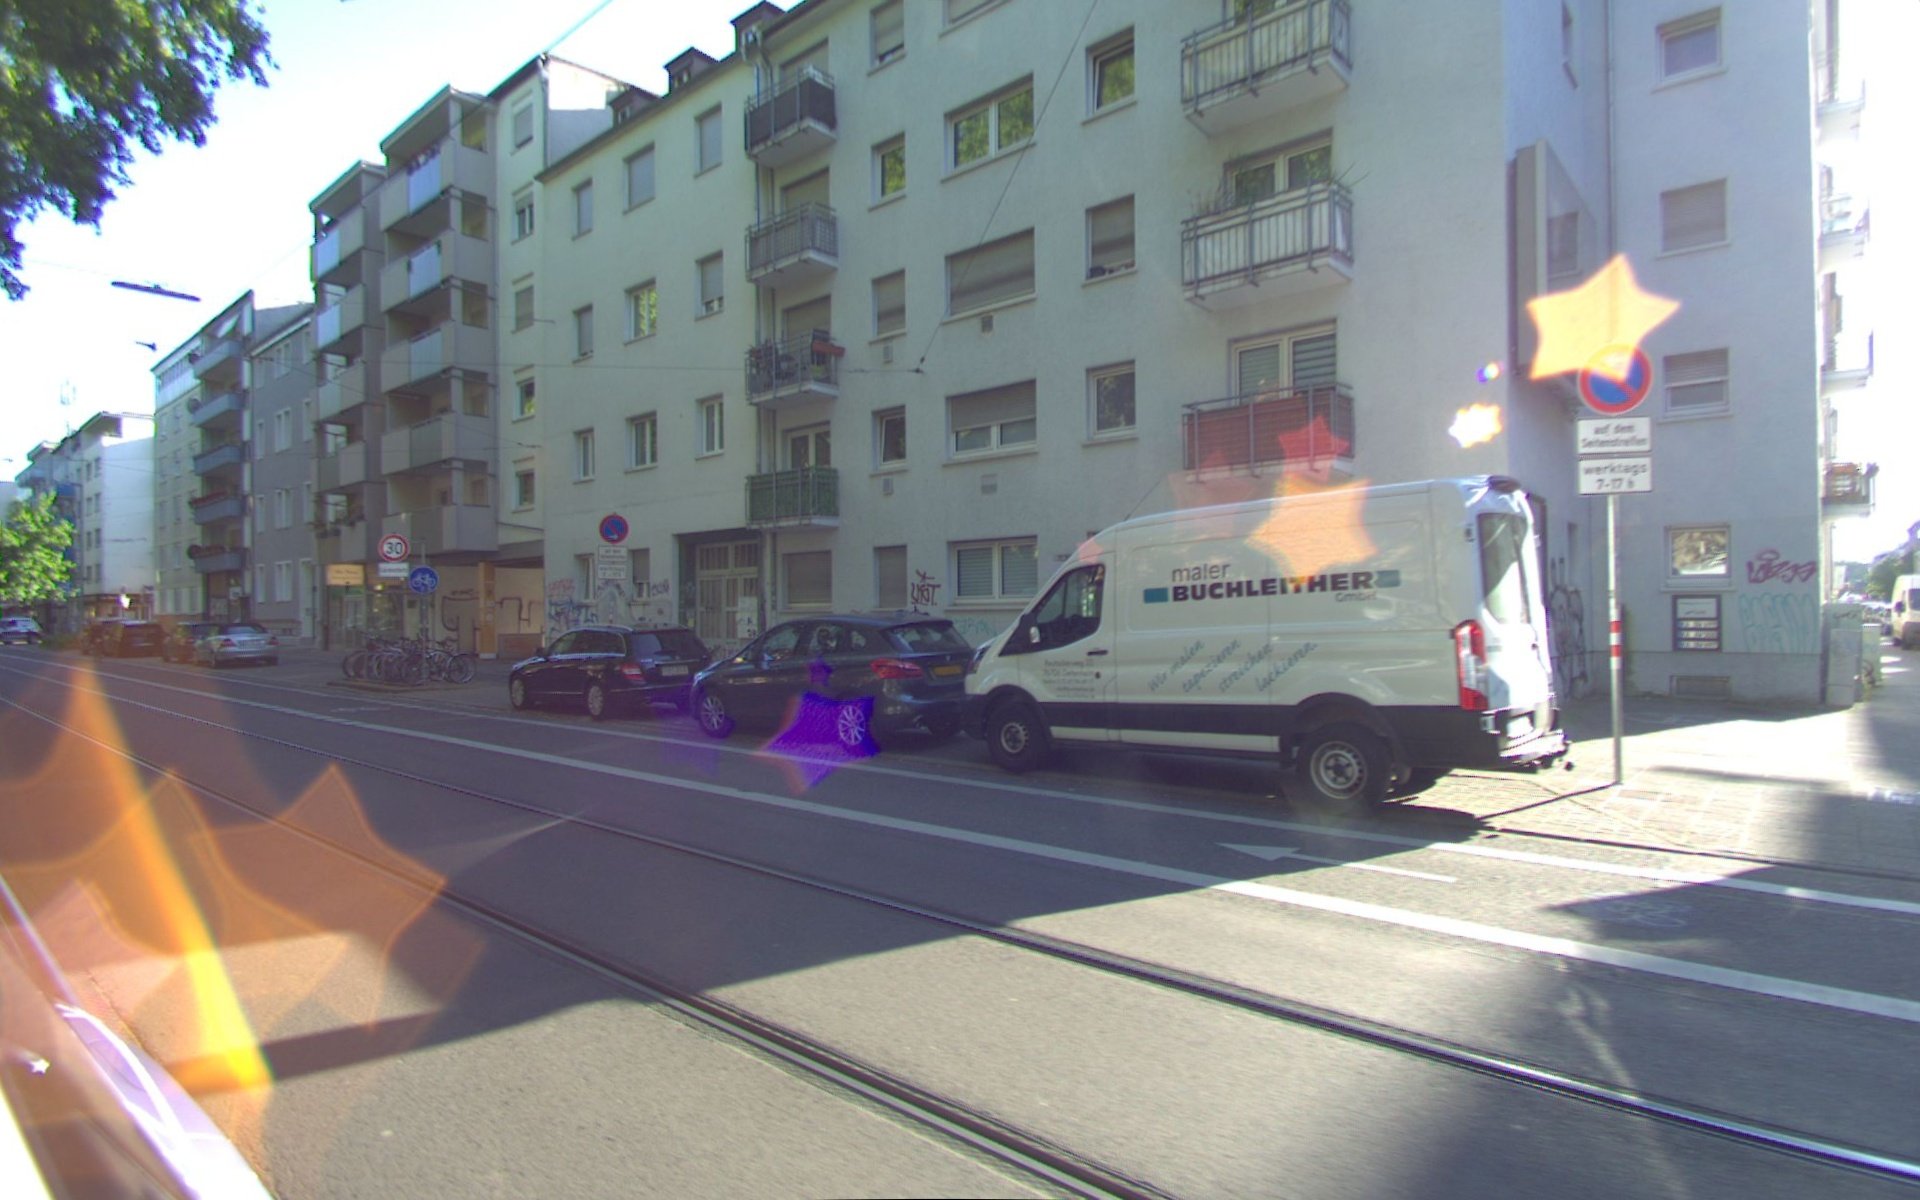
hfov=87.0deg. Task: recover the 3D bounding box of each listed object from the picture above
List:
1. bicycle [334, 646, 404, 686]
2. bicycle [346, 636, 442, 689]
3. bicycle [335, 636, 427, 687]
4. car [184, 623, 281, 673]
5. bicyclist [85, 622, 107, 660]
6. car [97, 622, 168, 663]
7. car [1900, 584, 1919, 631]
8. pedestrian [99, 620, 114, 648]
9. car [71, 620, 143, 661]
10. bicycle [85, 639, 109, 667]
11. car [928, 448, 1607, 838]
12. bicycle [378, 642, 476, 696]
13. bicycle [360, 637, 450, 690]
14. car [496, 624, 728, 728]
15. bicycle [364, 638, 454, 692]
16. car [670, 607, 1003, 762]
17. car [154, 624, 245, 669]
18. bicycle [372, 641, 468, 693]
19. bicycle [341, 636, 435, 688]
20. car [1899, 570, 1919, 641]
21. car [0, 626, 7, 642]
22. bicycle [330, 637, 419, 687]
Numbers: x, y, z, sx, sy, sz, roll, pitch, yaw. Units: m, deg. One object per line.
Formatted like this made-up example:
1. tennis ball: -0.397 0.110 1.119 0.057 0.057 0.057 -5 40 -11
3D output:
1. bicycle: -15.129 1.680 25.948 0.400 0.924 1.609 -1 0 25
2. bicycle: -13.579 1.482 24.318 1.944 1.127 0.425 -1 0 -42
3. bicycle: -14.306 1.499 25.044 1.907 1.127 0.440 -1 0 -42
4. car: -23.939 1.531 33.231 4.727 1.502 1.671 -2 -1 42
5. bicyclist: -32.491 1.551 38.050 0.709 1.405 0.503 -1 -3 41
6. car: -35.667 1.808 43.569 4.199 1.612 1.639 -1 0 41
7. car: 34.117 0.234 35.336 1.856 1.586 3.626 -3 -2 43
8. pedestrian: -58.947 2.323 69.869 0.762 1.913 0.800 -1 0 -41
9. car: -39.641 1.837 47.011 4.485 1.751 1.762 -1 0 40
10. bicycle: -32.205 1.960 37.769 1.946 1.026 0.412 -1 -3 42
11. car: 2.427 0.337 9.338 5.667 2.555 2.042 -1 -1 43
12. bicycle: -11.810 1.510 22.480 1.870 1.045 0.402 -1 0 -42
13. bicycle: -13.070 1.471 23.857 1.797 1.127 0.425 -1 0 -42
14. car: -5.834 1.141 16.649 4.572 1.467 1.699 -1 -1 43
15. bicycle: -12.760 1.498 23.473 1.767 1.127 0.425 -1 0 -42
16. car: -1.690 0.935 12.797 4.344 1.644 1.701 -1 -1 40
17. car: -27.582 1.645 36.665 4.238 1.502 1.775 -1 -1 41
18. bicycle: -12.198 1.492 22.899 1.870 1.045 0.402 -1 0 -42
19. bicycle: -13.920 1.490 24.668 1.937 1.127 0.440 -1 0 -42
20. car: 31.392 0.169 32.187 2.131 2.176 4.255 -3 -2 44
21. car: -96.477 3.403 99.577 1.587 1.535 3.899 -2 -1 45
22. bicycle: -14.737 1.544 25.508 1.870 1.127 0.402 -1 0 -42
